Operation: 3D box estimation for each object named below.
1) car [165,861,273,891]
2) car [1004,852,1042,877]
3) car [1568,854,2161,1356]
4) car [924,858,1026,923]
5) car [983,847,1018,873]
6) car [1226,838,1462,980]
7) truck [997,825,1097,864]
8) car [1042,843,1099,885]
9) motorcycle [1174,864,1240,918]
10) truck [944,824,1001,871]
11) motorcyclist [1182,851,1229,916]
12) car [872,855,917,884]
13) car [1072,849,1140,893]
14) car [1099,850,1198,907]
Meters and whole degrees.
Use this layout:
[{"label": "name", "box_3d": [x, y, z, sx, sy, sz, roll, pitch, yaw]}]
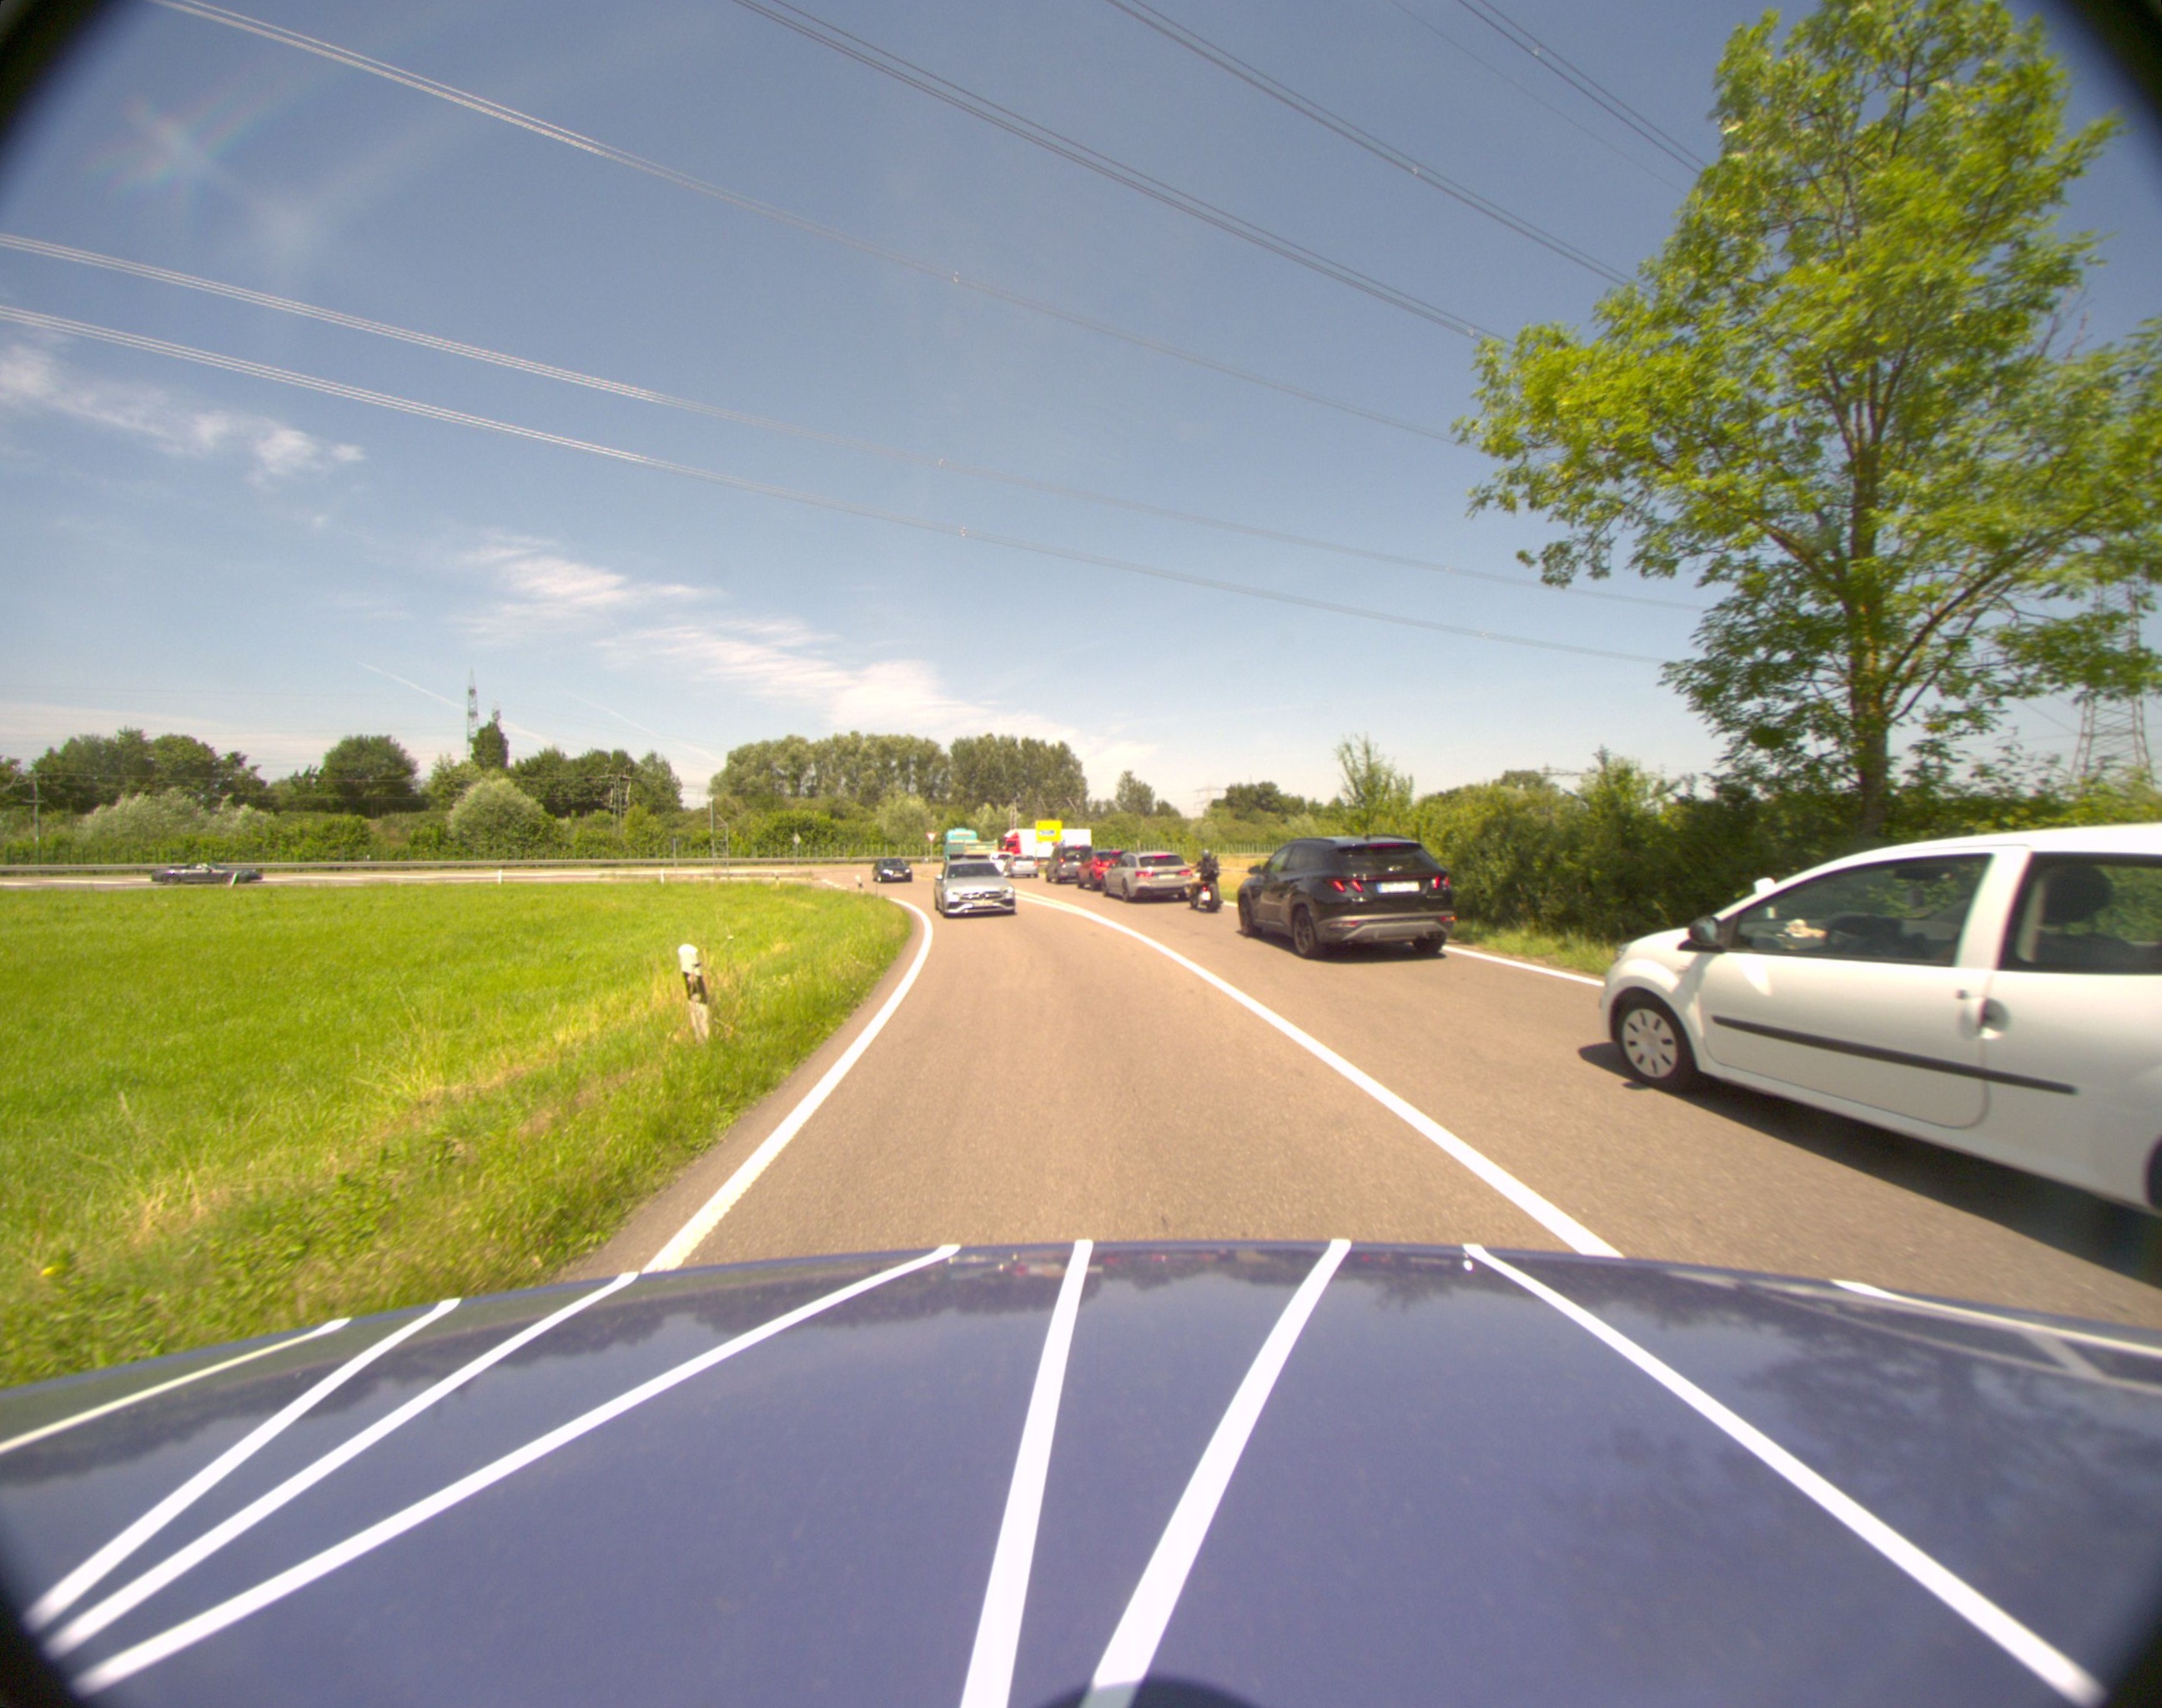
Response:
[{"label": "car", "box_3d": [-52.905, 1.302, 46.740, 4.005, 1.714, 1.721, 0, 1, -25]}, {"label": "car", "box_3d": [-3.586, 0.592, 46.487, 1.638, 1.451, 4.002, -1, 0, -14]}, {"label": "car", "box_3d": [4.011, 0.764, 3.206, 1.540, 1.434, 3.607, -3, 0, 0]}, {"label": "car", "box_3d": [-2.990, 0.891, 20.585, 1.827, 1.478, 4.140, -1, 1, -21]}, {"label": "car", "box_3d": [-5.612, 0.391, 52.559, 1.779, 1.611, 4.325, -2, 1, -14]}, {"label": "car", "box_3d": [3.579, 0.643, 11.246, 1.707, 1.628, 4.247, -2, 1, -4]}, {"label": "truck", "box_3d": [-3.327, -0.998, 75.914, 9.567, 3.559, 2.719, -3, 2, -27]}, {"label": "car", "box_3d": [-0.571, 0.404, 36.276, 1.933, 1.822, 4.433, 0, 1, -12]}, {"label": "motorcycle", "box_3d": [3.008, 0.858, 18.410, 0.784, 1.117, 2.427, -2, 1, -10]}, {"label": "truck", "box_3d": [-8.563, -0.484, 59.270, 2.613, 3.451, 7.595, -1, 0, -22]}, {"label": "motorcyclist", "box_3d": [3.001, 0.687, 18.363, 0.783, 1.486, 1.129, -1, 1, -10]}, {"label": "car", "box_3d": [-10.732, 0.842, 43.536, 1.828, 1.432, 4.139, -1, 2, -24]}, {"label": "car", "box_3d": [0.902, 0.598, 29.588, 1.805, 1.507, 4.387, 0, 1, -10]}, {"label": "car", "box_3d": [1.945, 0.668, 23.404, 1.847, 1.452, 4.804, -2, 1, -10]}]
